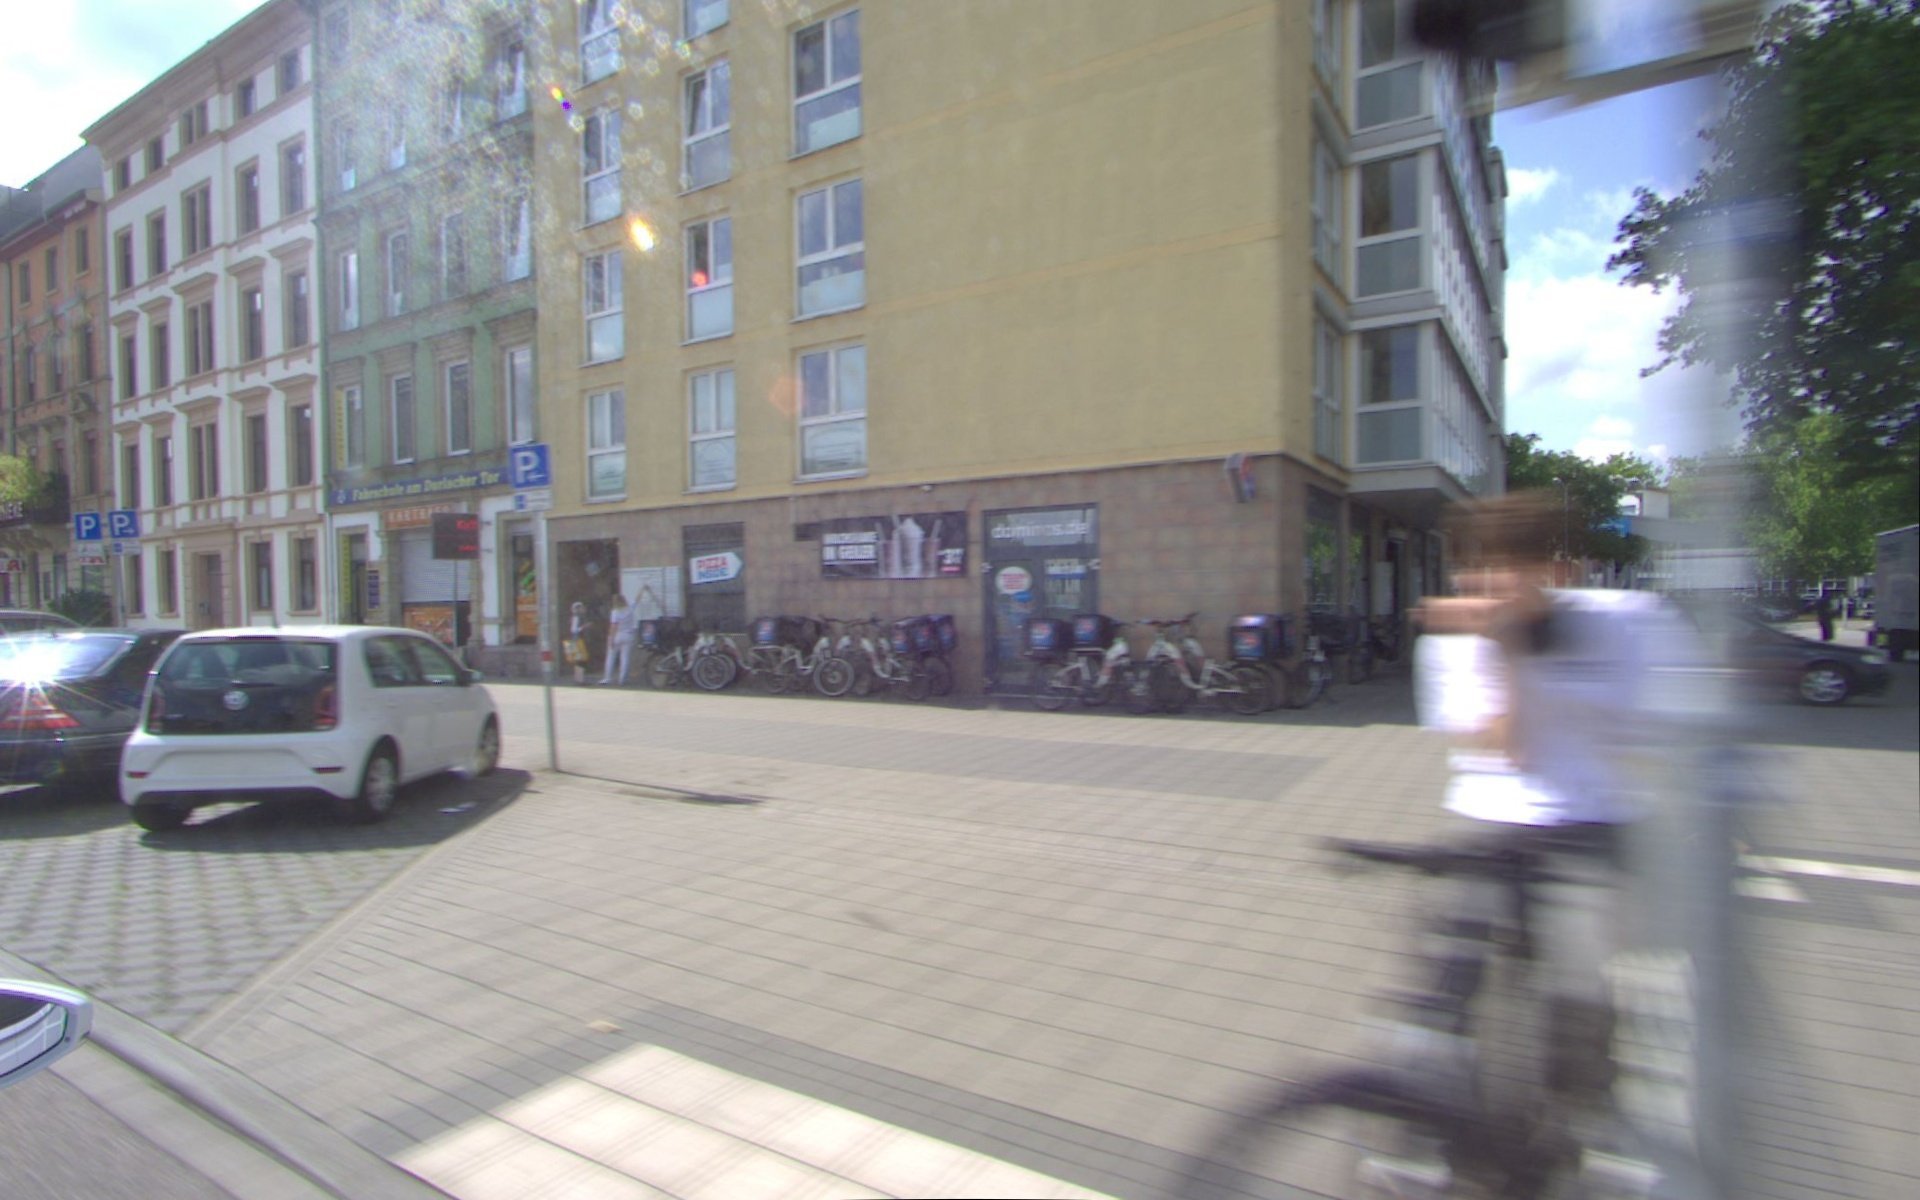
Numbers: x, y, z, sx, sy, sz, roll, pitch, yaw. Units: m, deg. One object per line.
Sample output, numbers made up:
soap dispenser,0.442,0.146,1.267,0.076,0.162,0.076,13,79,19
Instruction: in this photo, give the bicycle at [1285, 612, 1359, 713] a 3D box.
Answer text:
bicycle,4.895,0.790,13.471,0.471,1.218,2.185,2,2,32

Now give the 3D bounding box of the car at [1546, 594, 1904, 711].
car,11.120,0.697,14.975,4.036,1.534,1.799,0,1,32

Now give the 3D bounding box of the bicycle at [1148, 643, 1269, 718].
bicycle,3.097,0.993,12.550,1.443,0.895,0.292,-1,0,30

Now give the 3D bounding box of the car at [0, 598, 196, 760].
car,-11.090,0.828,11.270,2.023,1.669,4.592,-1,0,-10

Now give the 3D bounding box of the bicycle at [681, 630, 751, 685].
bicycle,-4.435,1.023,18.149,1.442,0.935,0.292,1,1,30

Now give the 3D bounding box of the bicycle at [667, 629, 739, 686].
bicycle,-4.597,1.021,17.875,1.442,0.935,0.292,1,2,30

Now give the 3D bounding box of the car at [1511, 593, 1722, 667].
car,15.525,0.653,23.917,4.035,1.535,1.800,2,1,32

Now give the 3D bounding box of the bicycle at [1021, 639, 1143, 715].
bicycle,1.610,1.005,13.277,1.584,0.935,0.292,1,1,23

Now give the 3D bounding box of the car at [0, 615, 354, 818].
car,-7.901,0.889,9.545,1.902,1.479,4.598,0,-1,-7

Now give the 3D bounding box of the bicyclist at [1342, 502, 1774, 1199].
bicyclist,1.246,0.510,2.091,0.772,1.354,0.393,0,2,-29

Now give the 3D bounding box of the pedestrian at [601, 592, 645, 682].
pedestrian,-6.387,0.691,18.975,0.453,1.642,0.600,3,5,32

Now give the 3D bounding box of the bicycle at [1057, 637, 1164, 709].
bicycle,2.053,0.984,13.733,1.430,0.935,0.292,0,1,28

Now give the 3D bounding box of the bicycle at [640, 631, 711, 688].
bicycle,-5.004,1.038,17.597,1.442,0.935,0.292,1,1,30

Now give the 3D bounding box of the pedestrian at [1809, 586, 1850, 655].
pedestrian,23.543,0.550,27.138,0.623,1.823,0.738,2,2,29

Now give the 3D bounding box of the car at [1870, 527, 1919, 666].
car,22.904,-0.087,22.848,1.972,3.083,7.208,0,0,33

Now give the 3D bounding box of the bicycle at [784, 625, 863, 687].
bicycle,-2.275,0.908,16.595,1.443,0.935,0.291,2,2,33

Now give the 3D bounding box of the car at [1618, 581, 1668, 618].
car,30.491,-0.019,44.804,1.637,1.573,3.979,0,0,31

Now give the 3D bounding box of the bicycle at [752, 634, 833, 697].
bicycle,-2.733,1.051,16.254,1.442,0.935,0.292,1,2,30

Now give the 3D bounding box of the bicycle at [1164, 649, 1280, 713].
bicycle,3.371,1.035,12.952,1.430,0.748,0.292,0,1,30

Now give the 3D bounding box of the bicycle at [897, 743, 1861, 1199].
bicycle,0.931,0.935,1.982,2.069,1.121,0.541,1,2,-28

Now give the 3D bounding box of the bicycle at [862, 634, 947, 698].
bicycle,-0.889,1.020,15.758,1.444,0.935,0.291,0,1,33

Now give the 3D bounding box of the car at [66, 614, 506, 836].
car,-5.365,0.879,8.573,1.745,1.472,3.495,0,-1,-8

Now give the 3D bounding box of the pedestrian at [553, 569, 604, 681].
pedestrian,-7.170,0.457,18.836,0.453,2.043,0.599,3,8,32

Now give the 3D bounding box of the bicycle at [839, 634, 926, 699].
bicycle,-1.196,1.000,15.337,1.444,0.935,0.291,0,1,33

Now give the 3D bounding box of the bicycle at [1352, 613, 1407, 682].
bicycle,7.406,0.810,17.648,0.586,1.144,1.338,3,2,36

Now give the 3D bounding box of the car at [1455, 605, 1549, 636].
car,28.135,1.061,52.069,4.047,1.534,1.795,0,0,40
